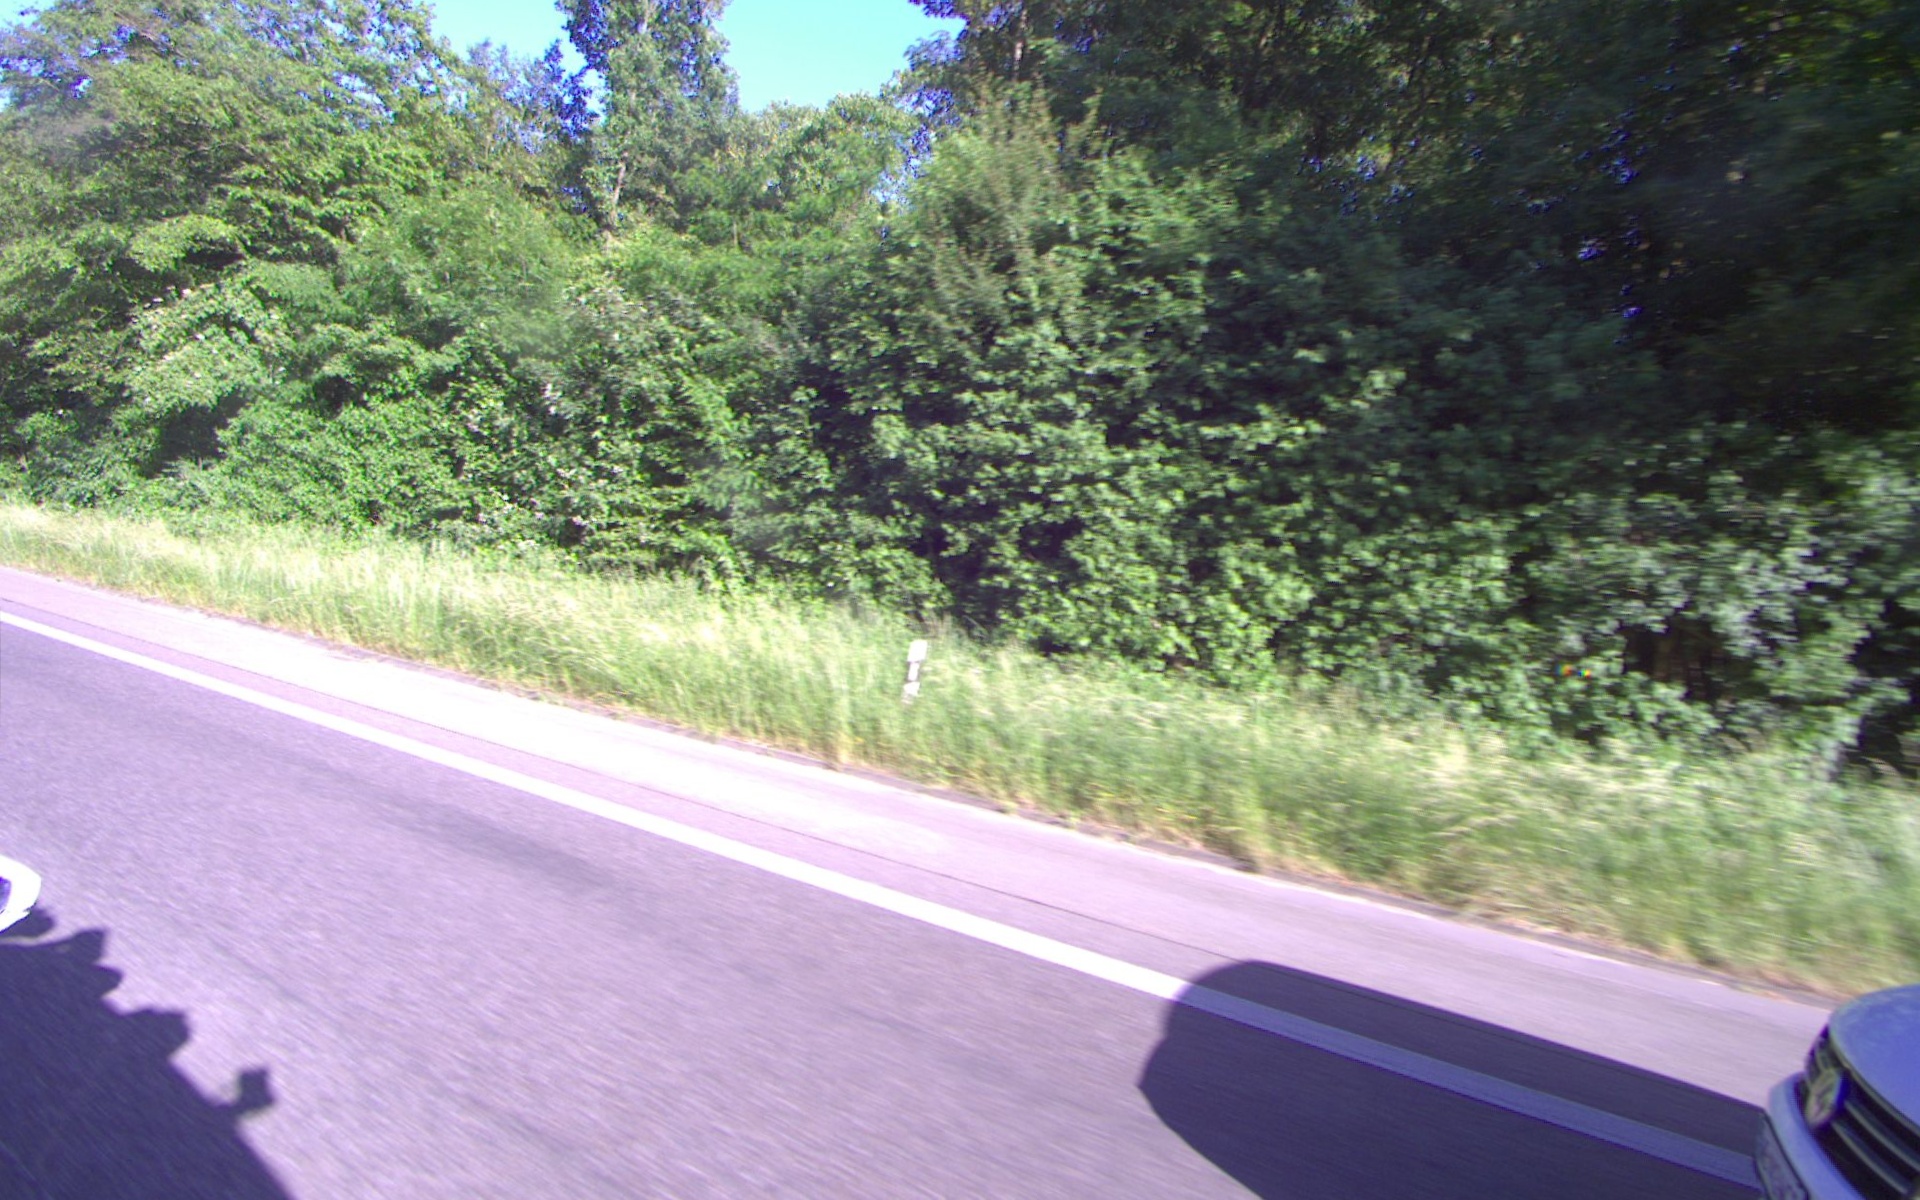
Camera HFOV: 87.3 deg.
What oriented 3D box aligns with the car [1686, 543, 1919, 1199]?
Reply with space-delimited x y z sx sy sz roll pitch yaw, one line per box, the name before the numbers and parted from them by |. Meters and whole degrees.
car | 3.879 1.095 1.249 4.511 1.834 1.802 6 -2 31
